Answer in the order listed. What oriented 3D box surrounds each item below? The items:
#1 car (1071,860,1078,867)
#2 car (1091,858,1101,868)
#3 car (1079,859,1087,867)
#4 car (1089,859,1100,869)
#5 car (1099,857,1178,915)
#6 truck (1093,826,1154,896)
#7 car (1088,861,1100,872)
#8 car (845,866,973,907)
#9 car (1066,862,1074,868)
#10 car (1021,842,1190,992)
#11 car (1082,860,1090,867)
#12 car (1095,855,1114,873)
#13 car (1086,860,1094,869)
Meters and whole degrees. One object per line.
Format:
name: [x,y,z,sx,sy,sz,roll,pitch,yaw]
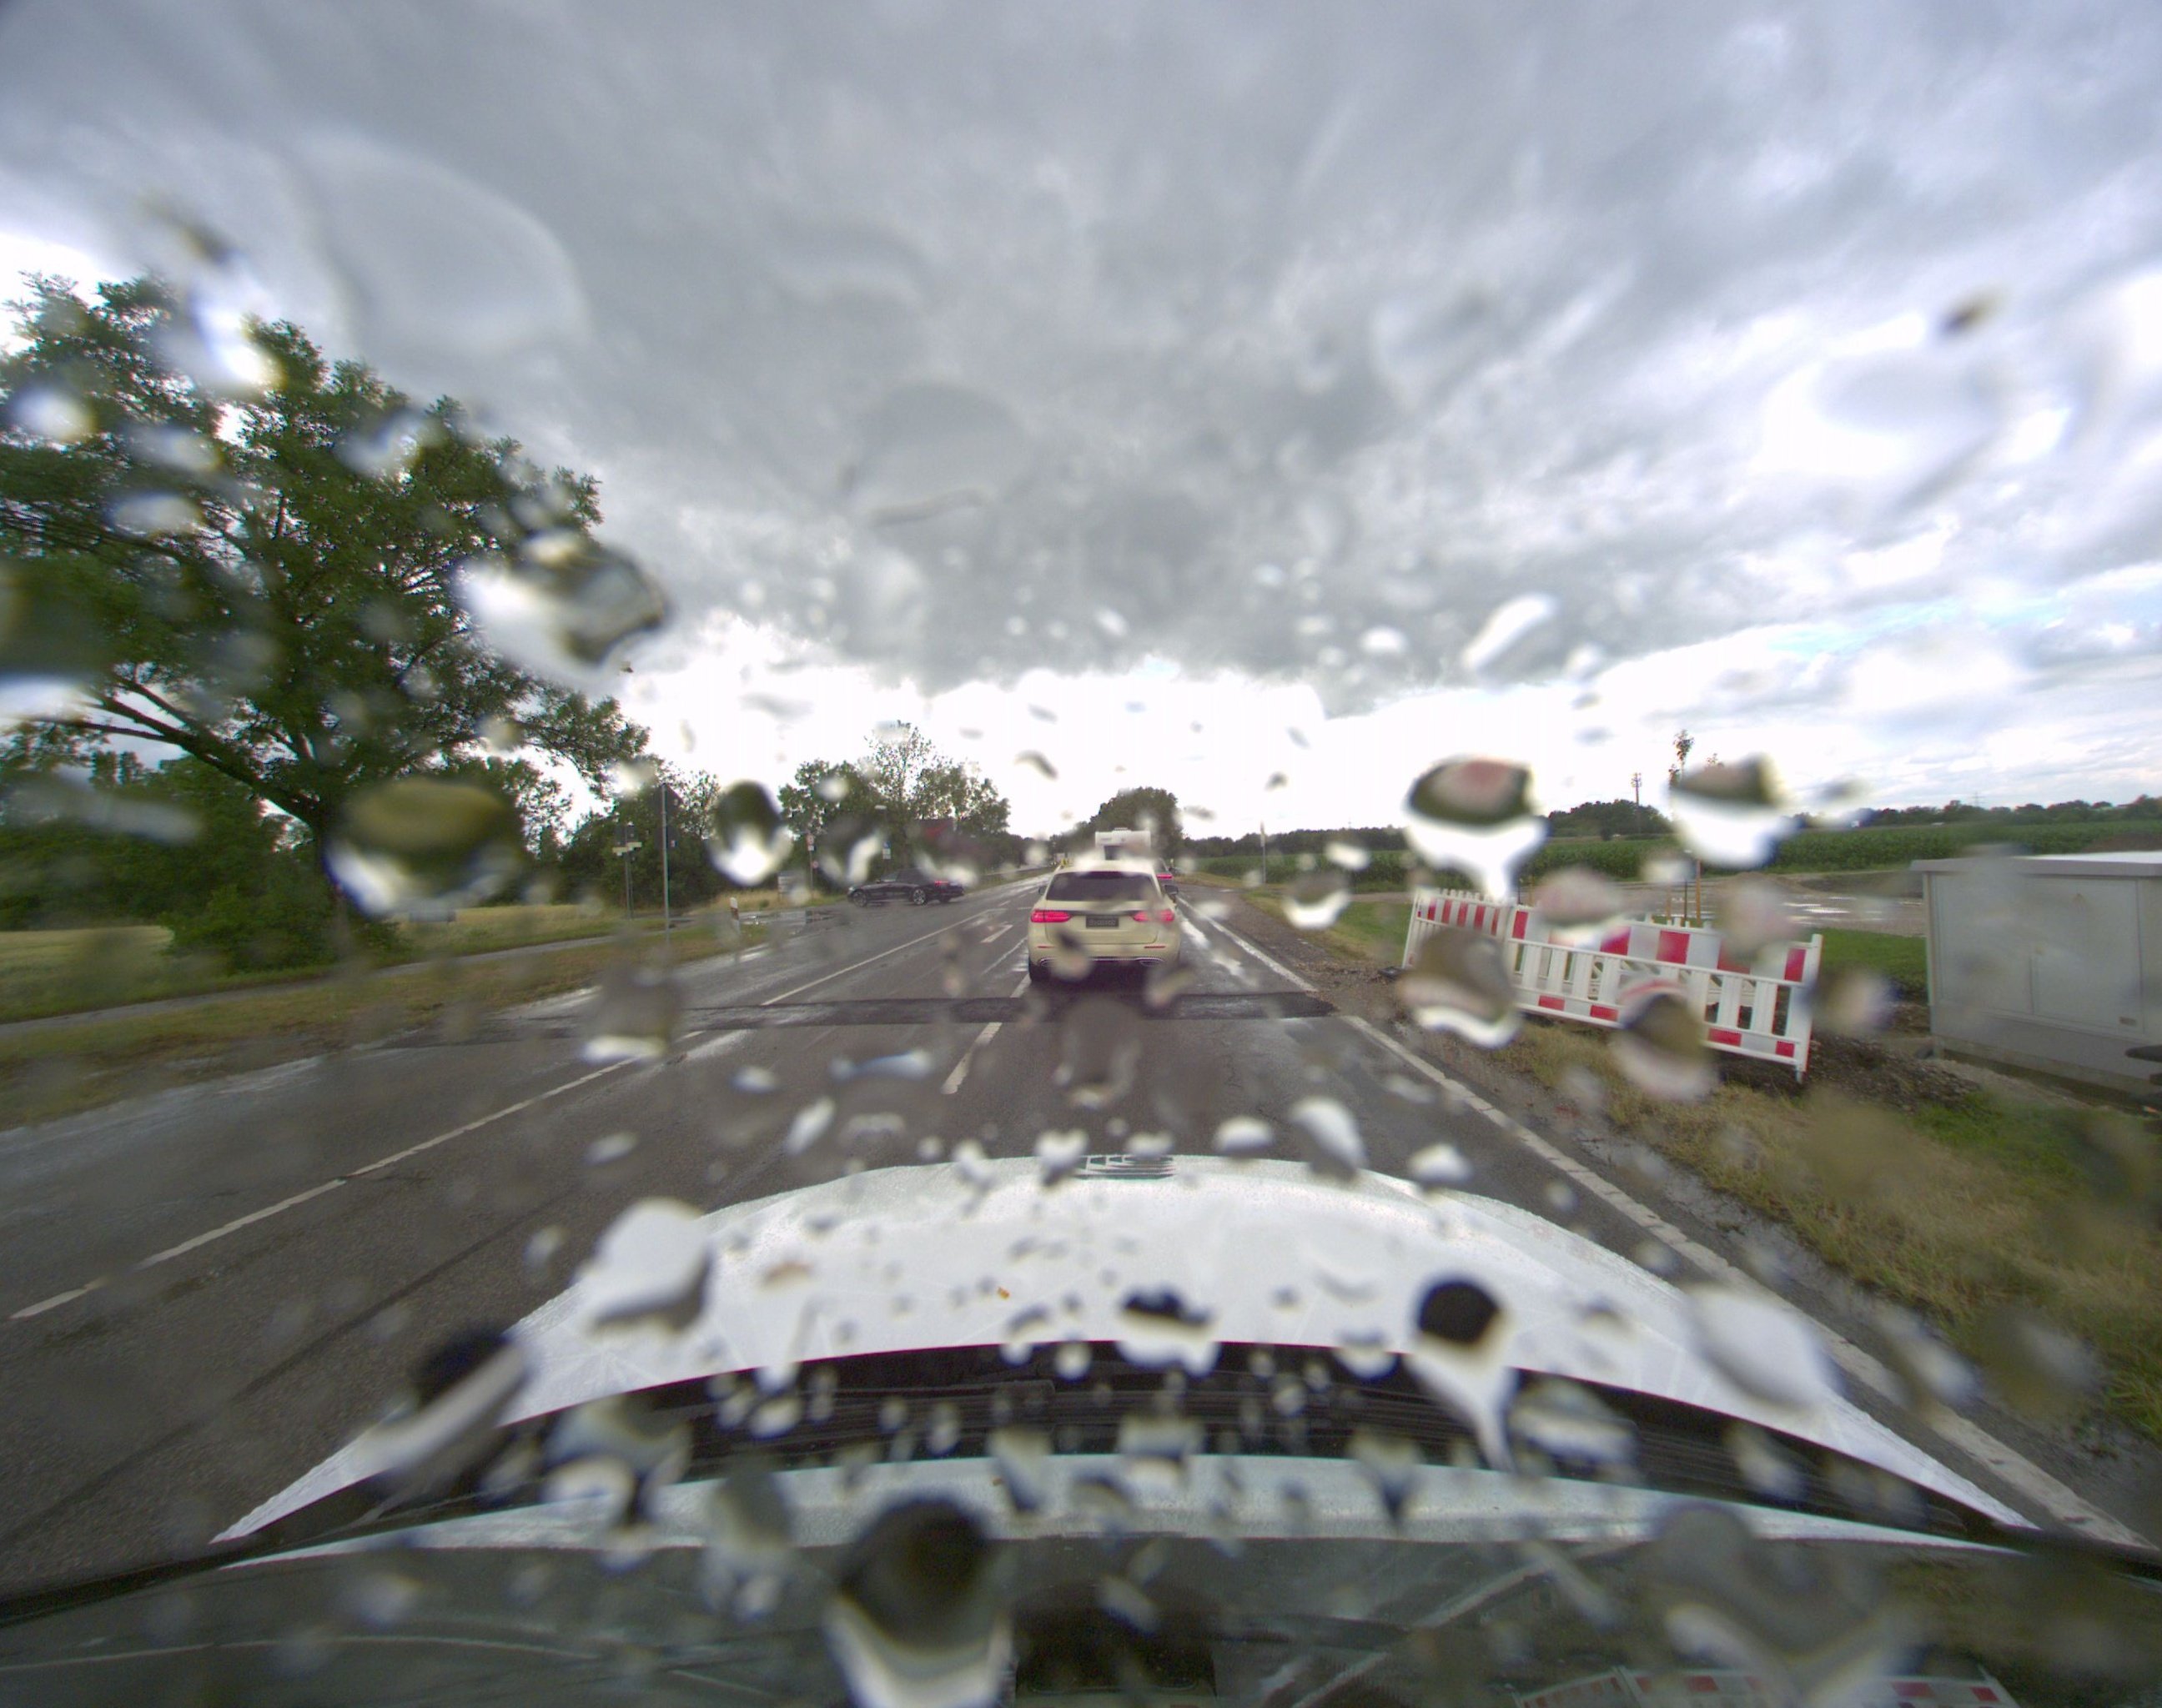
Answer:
car: [-1.875,2.854,242.980,1.888,1.839,3.883,-2,-1,2]
car: [2.982,1.802,161.805,1.987,1.772,3.999,-2,0,0]
car: [0.597,2.414,213.273,1.890,1.895,3.841,-2,-1,-1]
car: [2.527,1.775,149.312,1.872,1.761,3.835,-2,0,2]
car: [1.519,0.835,22.633,1.986,1.462,4.001,0,-1,2]
truck: [1.840,0.303,36.455,2.355,2.729,7.317,-2,0,2]
car: [2.124,2.023,132.809,1.784,1.777,3.722,-2,-1,2]
car: [-7.051,1.289,33.411,4.578,1.547,2.321,-1,-1,21]
car: [-2.943,2.921,215.286,1.821,1.574,4.002,0,-1,2]
car: [0.329,0.708,10.960,1.836,1.618,4.001,-1,-1,2]
car: [1.233,2.272,202.089,1.745,1.662,3.668,-2,0,-3]
car: [2.515,1.109,87.889,1.908,1.841,3.797,-2,0,2]
car: [2.005,2.372,187.817,1.733,1.860,3.786,-2,0,2]
